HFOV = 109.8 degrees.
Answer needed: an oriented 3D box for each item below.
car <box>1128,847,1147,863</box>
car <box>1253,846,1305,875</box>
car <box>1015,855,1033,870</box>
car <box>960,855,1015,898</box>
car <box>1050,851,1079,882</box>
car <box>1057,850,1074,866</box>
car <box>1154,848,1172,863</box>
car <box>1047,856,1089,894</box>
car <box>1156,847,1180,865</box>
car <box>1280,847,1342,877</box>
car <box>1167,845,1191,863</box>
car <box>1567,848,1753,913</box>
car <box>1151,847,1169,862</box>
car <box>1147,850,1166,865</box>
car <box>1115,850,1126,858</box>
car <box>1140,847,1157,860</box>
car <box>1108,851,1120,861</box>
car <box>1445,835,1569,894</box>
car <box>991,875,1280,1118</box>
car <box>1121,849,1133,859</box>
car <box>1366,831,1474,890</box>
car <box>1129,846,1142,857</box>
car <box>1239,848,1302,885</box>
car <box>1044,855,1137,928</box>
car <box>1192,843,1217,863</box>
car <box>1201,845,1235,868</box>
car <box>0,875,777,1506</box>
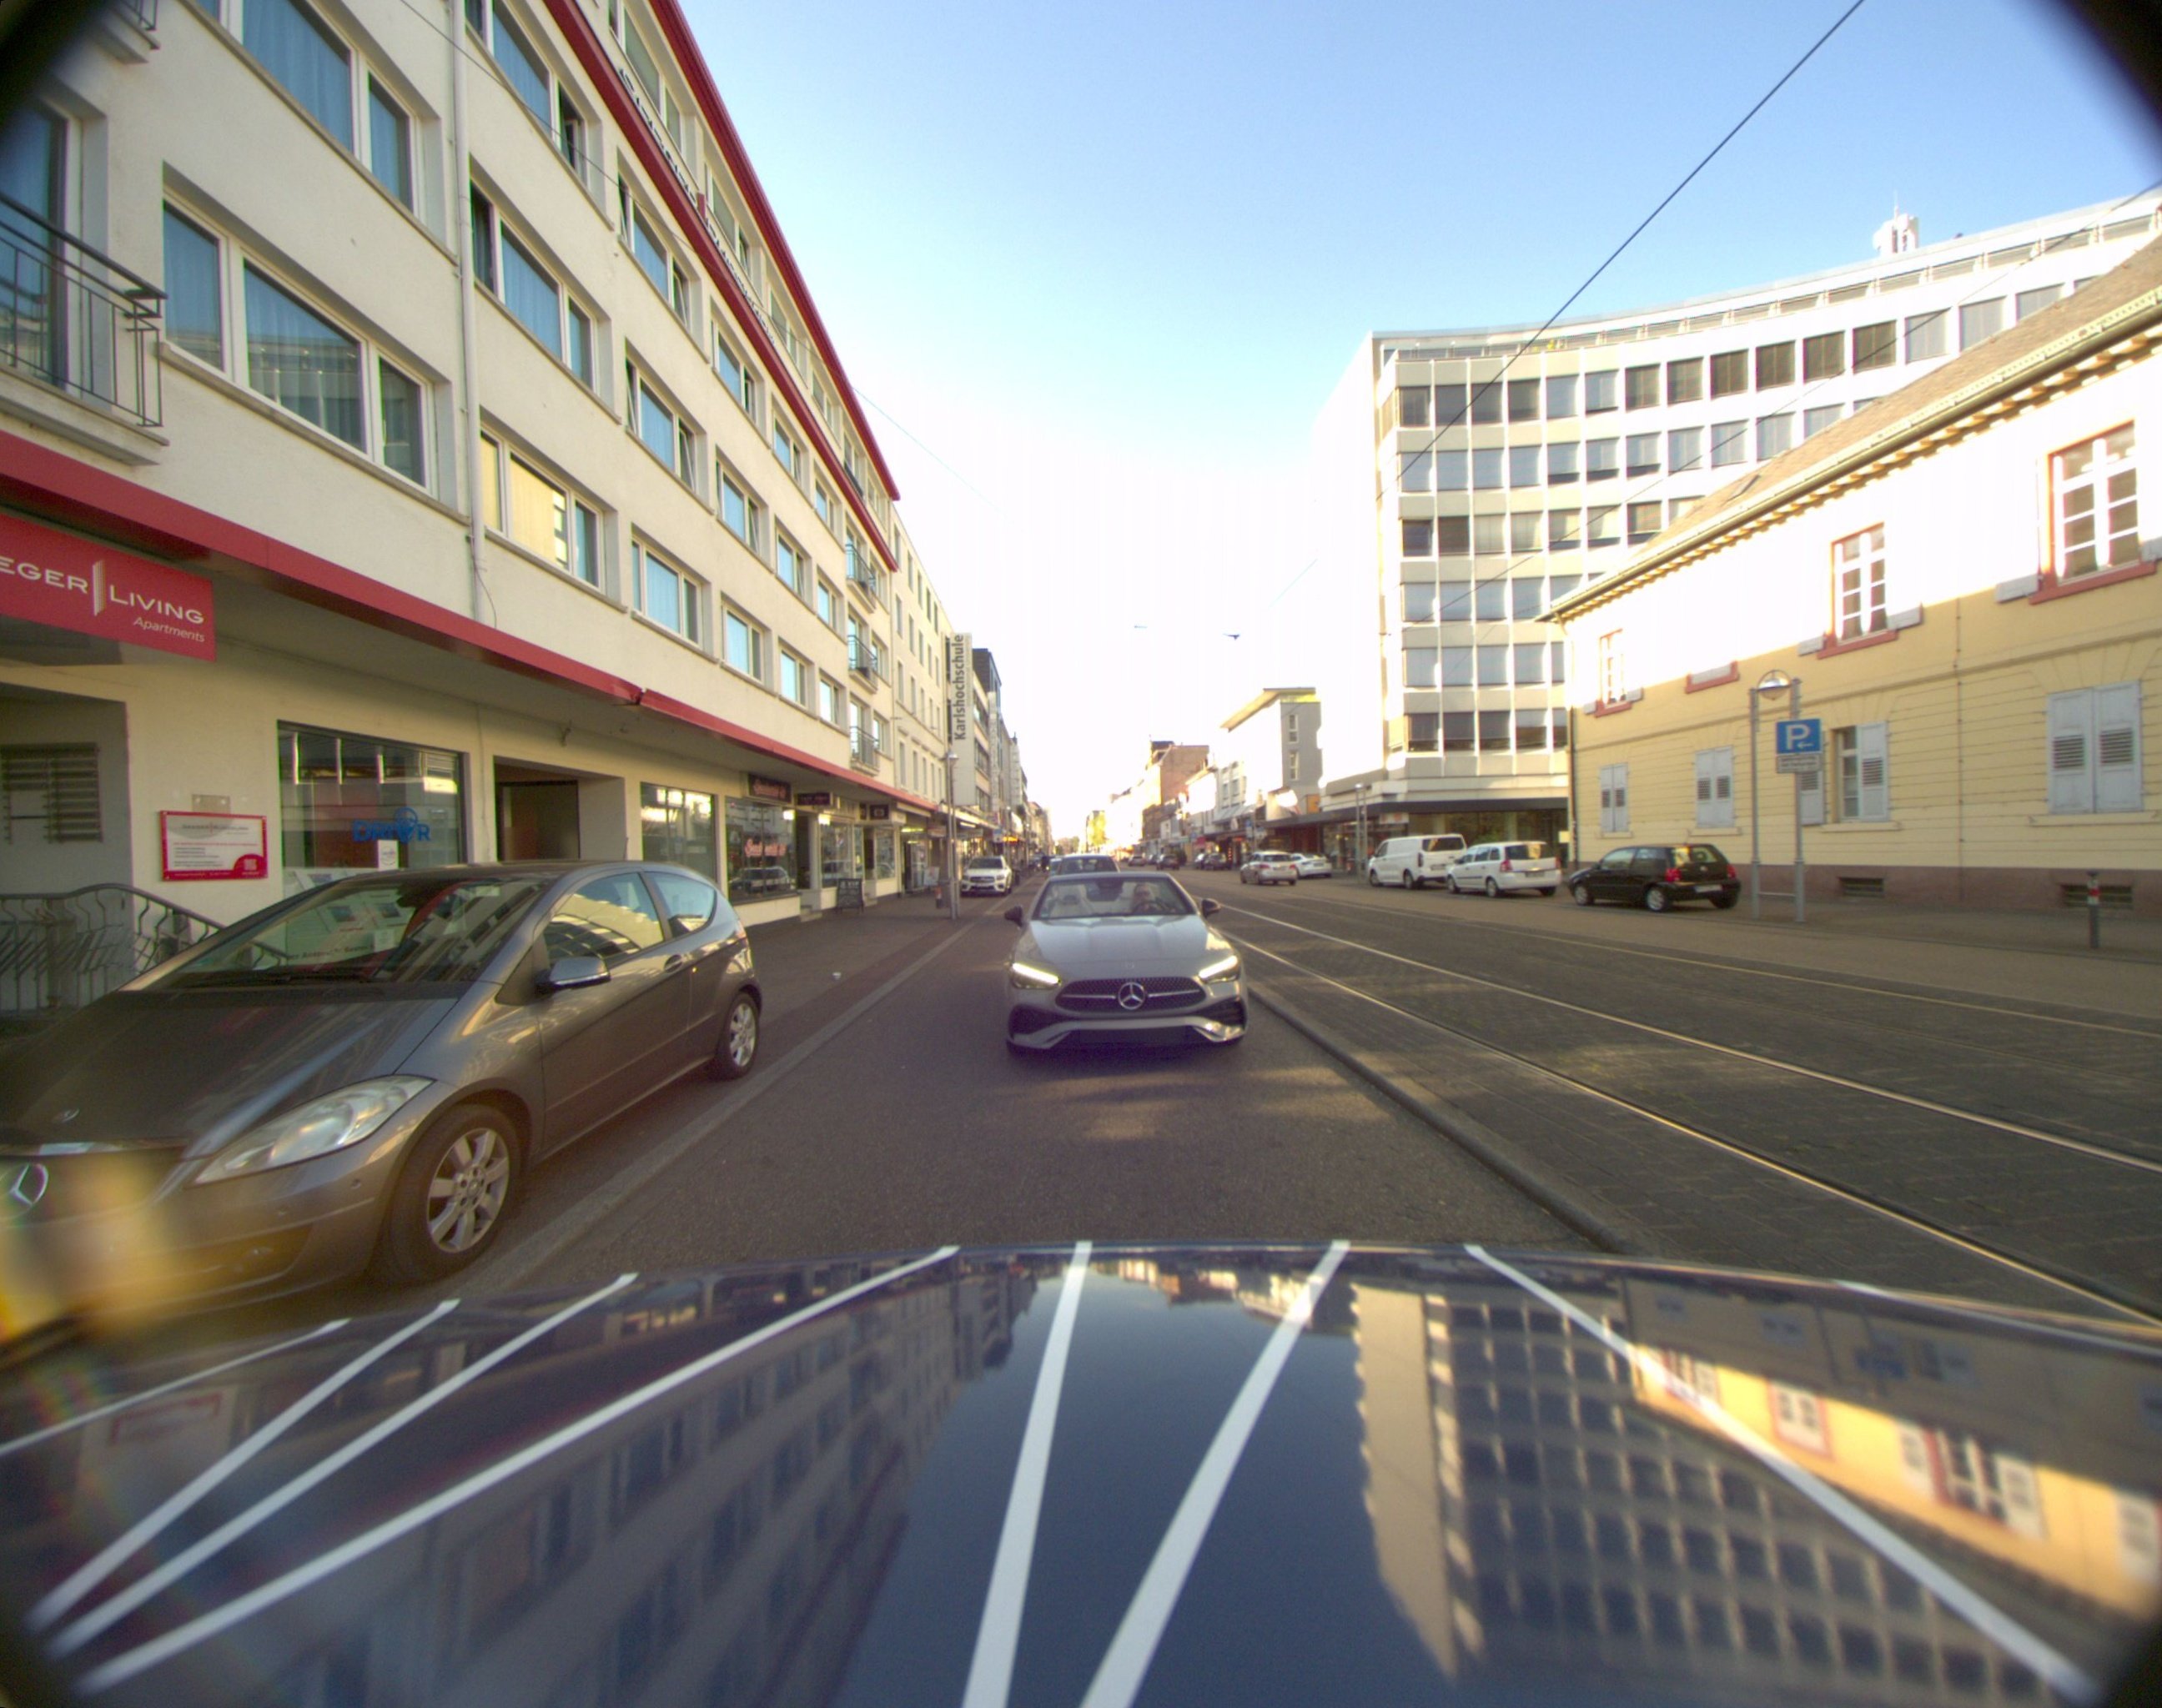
[{"bbox_3d":[7.331,0.112,98.335,1.914,1.883,3.855,-2,1,-2],"label":"car"},{"bbox_3d":[12.339,0.362,47.685,1.999,1.694,4.107,-3,1,-2],"label":"car"},{"bbox_3d":[-6.188,0.890,83.088,1.714,1.430,3.756,-2,1,-1],"label":"car"},{"bbox_3d":[-3.838,0.891,31.720,1.999,1.620,3.998,-1,0,-4],"label":"car"},{"bbox_3d":[-0.973,0.723,45.359,1.573,1.670,3.688,-2,1,-1],"label":"car"},{"bbox_3d":[-1.871,0.472,91.279,1.999,1.793,3.999,-2,1,-1],"label":"car"},{"bbox_3d":[10.884,0.204,101.338,1.998,2.002,4.000,-1,0,1],"label":"car"},{"bbox_3d":[-0.594,0.851,33.277,1.648,1.506,3.844,-2,0,-2],"label":"car"},{"bbox_3d":[8.198,0.164,71.950,1.964,1.499,4.000,-2,1,4],"label":"car"},{"bbox_3d":[12.705,0.418,42.256,1.999,1.521,4.373,-2,1,-1],"label":"car"},{"bbox_3d":[11.653,-0.033,90.433,2.200,2.030,3.999,-1,0,-1],"label":"car"},{"bbox_3d":[12.837,0.525,17.100,1.688,1.246,3.212,-2,1,-1],"label":"car"},{"bbox_3d":[11.556,0.041,111.438,1.999,2.002,3.998,-2,1,-2],"label":"car"},{"bbox_3d":[10.523,0.417,106.319,1.999,2.002,3.998,-2,1,-2],"label":"car"},{"bbox_3d":[9.115,-0.009,176.813,2.148,1.850,3.998,-2,1,-2],"label":"car"},{"bbox_3d":[10.884,-0.021,122.104,1.999,2.002,5.320,-1,0,-2],"label":"car"},{"bbox_3d":[6.583,0.386,150.923,1.999,2.002,3.998,-2,1,-2],"label":"car"},{"bbox_3d":[12.817,0.267,23.140,1.641,1.600,4.005,-2,1,3],"label":"car"},{"bbox_3d":[0.230,0.987,7.033,1.884,1.375,3.998,-2,1,-4],"label":"car"},{"bbox_3d":[9.558,-0.082,157.466,1.999,2.002,3.999,-1,0,-2],"label":"car"},{"bbox_3d":[12.690,0.231,28.788,2.040,2.002,4.621,-1,0,1],"label":"car"},{"bbox_3d":[9.907,-0.476,138.115,1.999,2.002,3.999,-1,0,-2],"label":"car"},{"bbox_3d":[8.837,0.537,35.747,1.760,1.587,3.999,-1,0,-2],"label":"car"},{"bbox_3d":[0.126,0.838,18.961,1.927,1.533,3.998,-2,0,-4],"label":"car"},{"bbox_3d":[12.002,-0.097,74.020,1.789,1.871,3.999,-2,1,0],"label":"car"},{"bbox_3d":[11.750,0.189,65.382,1.999,1.849,3.998,-2,1,-2],"label":"car"},{"bbox_3d":[-3.229,0.961,3.976,1.683,1.537,3.999,-2,0,-1],"label":"car"}]
